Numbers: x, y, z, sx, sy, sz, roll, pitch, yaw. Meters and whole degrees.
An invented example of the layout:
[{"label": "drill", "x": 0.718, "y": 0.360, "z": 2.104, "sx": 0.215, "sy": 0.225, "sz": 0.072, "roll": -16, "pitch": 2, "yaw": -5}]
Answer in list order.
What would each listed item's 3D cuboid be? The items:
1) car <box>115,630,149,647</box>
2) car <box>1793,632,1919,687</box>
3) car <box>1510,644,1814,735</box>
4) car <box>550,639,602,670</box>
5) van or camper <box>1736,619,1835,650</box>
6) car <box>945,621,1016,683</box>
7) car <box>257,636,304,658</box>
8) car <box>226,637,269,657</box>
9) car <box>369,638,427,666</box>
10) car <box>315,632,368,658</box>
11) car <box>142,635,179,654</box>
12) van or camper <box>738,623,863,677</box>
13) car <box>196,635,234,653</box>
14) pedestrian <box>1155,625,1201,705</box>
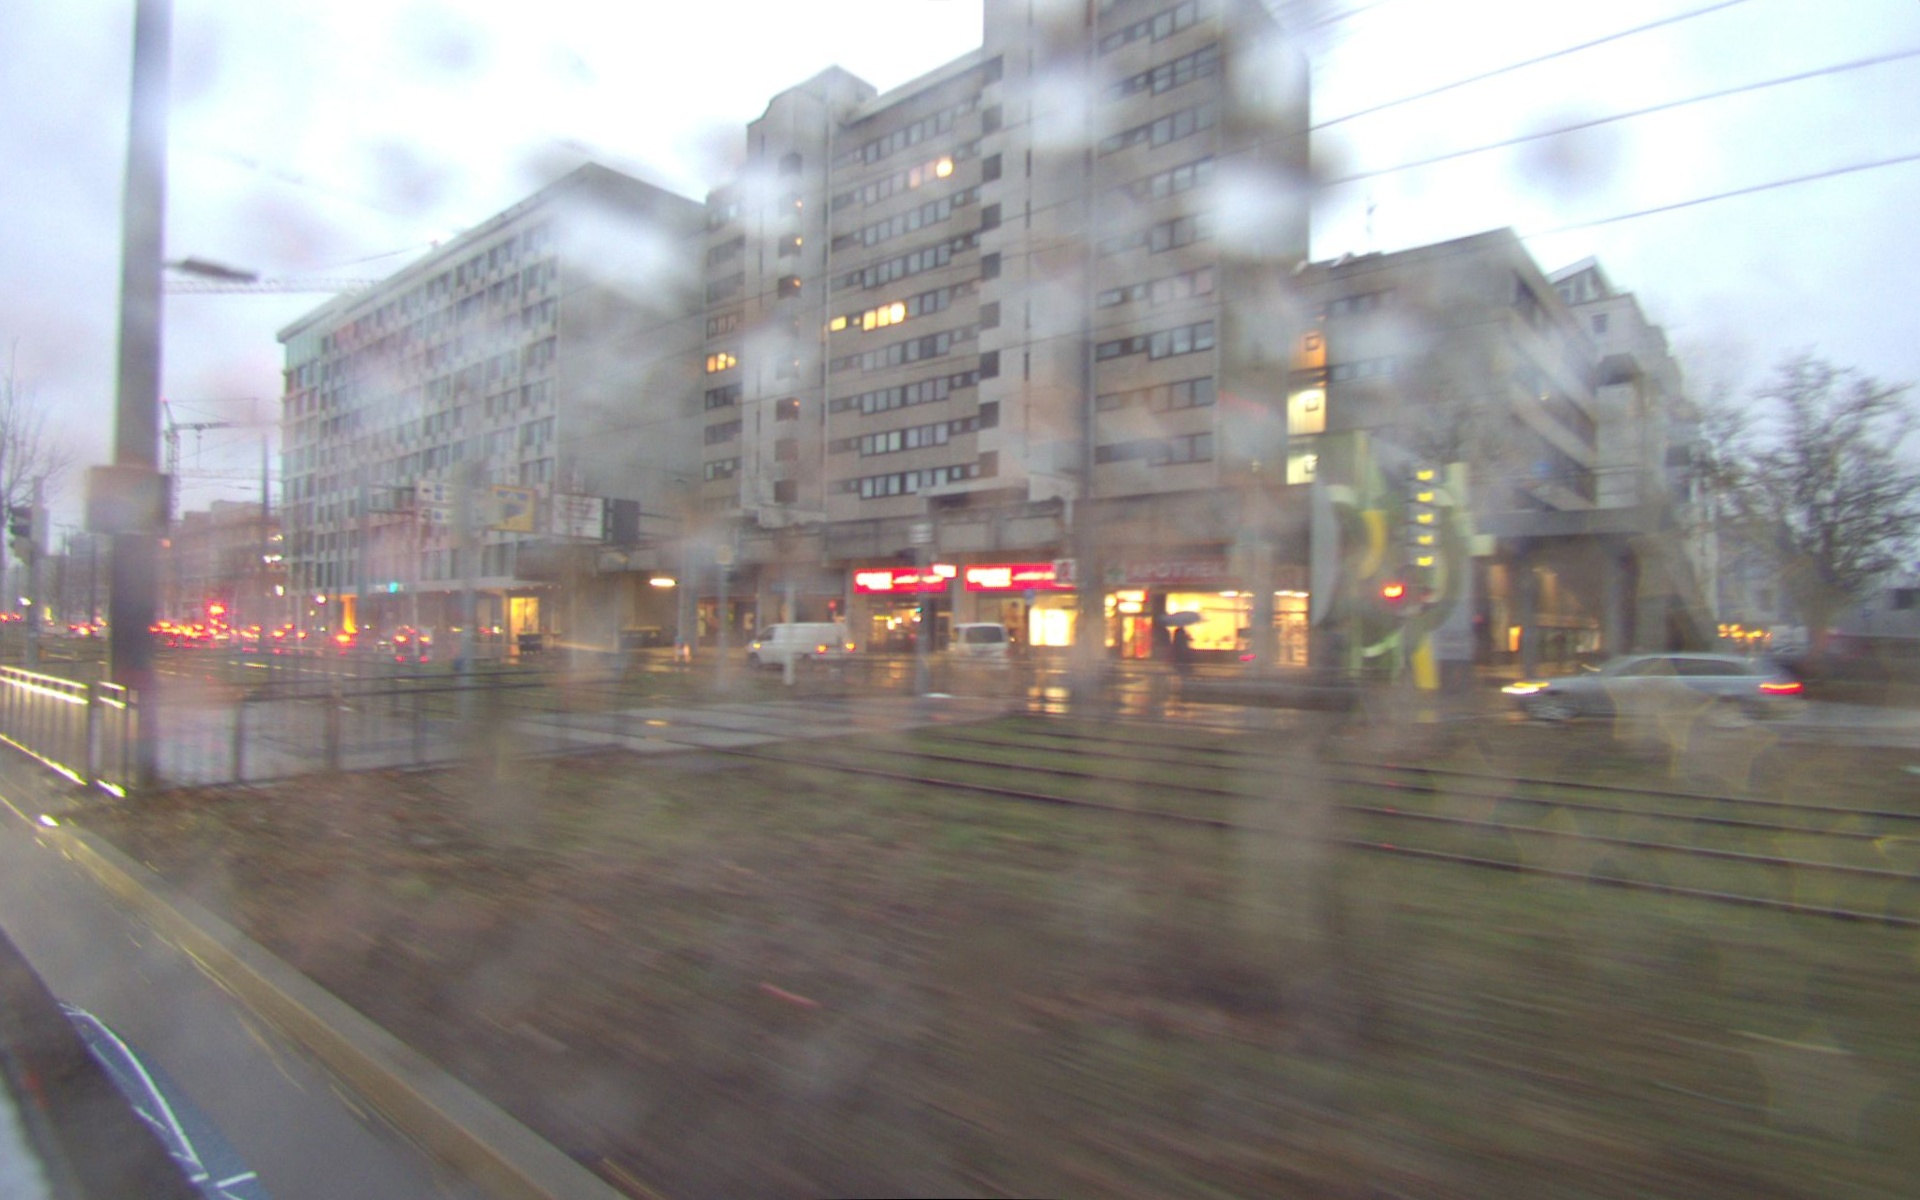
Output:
[{"label": "car", "x": -72.090, "y": 3.323, "z": 88.142, "sx": 3.870, "sy": 1.460, "sz": 1.576, "roll": -1, "pitch": -2, "yaw": 40}, {"label": "car", "x": 28.356, "y": 1.816, "z": 31.526, "sx": 3.635, "sy": 1.613, "sz": 1.601, "roll": -1, "pitch": -2, "yaw": 39}, {"label": "car", "x": 13.787, "y": 1.715, "z": 20.294, "sx": 4.676, "sy": 1.557, "sz": 1.983, "roll": 0, "pitch": -1, "yaw": 25}, {"label": "car", "x": -21.279, "y": 2.987, "z": 56.214, "sx": 1.656, "sy": 1.630, "sz": 3.781, "roll": 0, "pitch": -1, "yaw": -4}, {"label": "van or camper", "x": 61.105, "y": 2.537, "z": 74.987, "sx": 5.631, "sy": 2.260, "sz": 1.972, "roll": -1, "pitch": -2, "yaw": 42}, {"label": "car", "x": 0.683, "y": 1.844, "z": 37.258, "sx": 1.969, "sy": 2.029, "sz": 4.580, "roll": 0, "pitch": 0, "yaw": -7}, {"label": "car", "x": -48.095, "y": 3.298, "z": 71.613, "sx": 3.870, "sy": 1.460, "sz": 1.732, "roll": -1, "pitch": -2, "yaw": 40}, {"label": "car", "x": -54.228, "y": 3.569, "z": 77.026, "sx": 3.870, "sy": 1.460, "sz": 1.732, "roll": -1, "pitch": -2, "yaw": 40}, {"label": "car", "x": -31.930, "y": 2.927, "z": 57.455, "sx": 3.764, "sy": 1.460, "sz": 1.656, "roll": -1, "pitch": -2, "yaw": 40}, {"label": "car", "x": -39.224, "y": 2.817, "z": 64.167, "sx": 3.887, "sy": 1.523, "sz": 1.732, "roll": -1, "pitch": -2, "yaw": 40}, {"label": "car", "x": -65.727, "y": 3.644, "z": 83.194, "sx": 3.870, "sy": 1.460, "sz": 1.576, "roll": -1, "pitch": -2, "yaw": 40}, {"label": "van or camper", "x": -6.724, "y": 2.049, "z": 42.227, "sx": 5.651, "sy": 2.113, "sz": 1.973, "roll": -2, "pitch": -2, "yaw": 41}, {"label": "car", "x": -61.260, "y": 3.600, "z": 83.212, "sx": 3.870, "sy": 1.460, "sz": 1.576, "roll": -1, "pitch": -2, "yaw": 40}, {"label": "pedestrian", "x": 4.200, "y": 1.227, "z": 19.460, "sx": 0.629, "sy": 1.501, "sz": 0.783, "roll": -1, "pitch": -2, "yaw": 33}]
